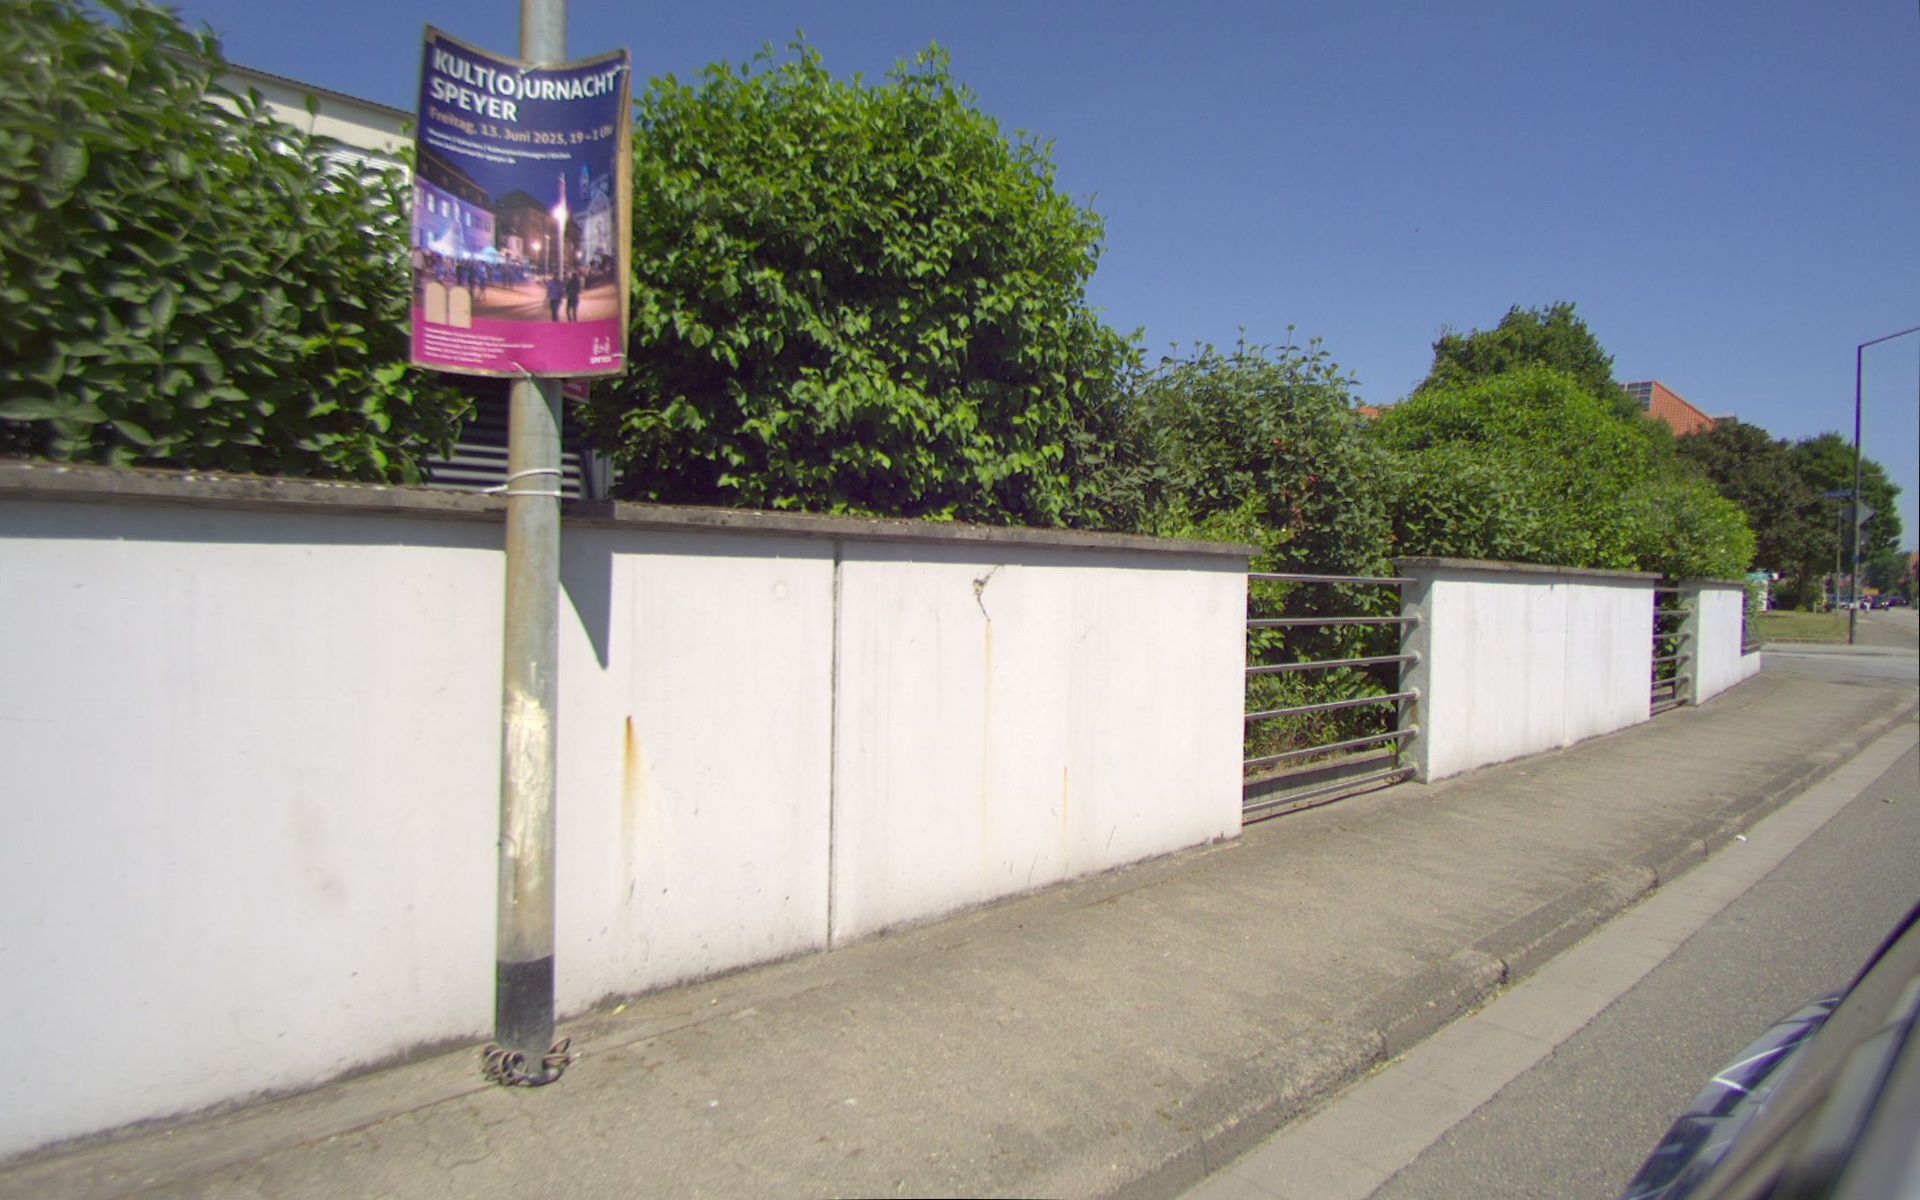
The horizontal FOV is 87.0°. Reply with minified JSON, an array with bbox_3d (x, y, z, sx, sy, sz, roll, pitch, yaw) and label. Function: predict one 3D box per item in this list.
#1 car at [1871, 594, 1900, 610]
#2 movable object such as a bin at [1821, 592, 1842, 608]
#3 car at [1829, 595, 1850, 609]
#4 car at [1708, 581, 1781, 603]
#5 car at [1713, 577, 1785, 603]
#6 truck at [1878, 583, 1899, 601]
[{"bbox_3d":[92.068,0.158,100.695,1.703,1.476,3.517,2,1,37],"label":"car"},{"bbox_3d":[86.571,-0.001,100.551,1.493,1.499,1.403,2,1,39],"label":"movable object such as a bin"},{"bbox_3d":[92.466,0.230,106.397,1.601,1.429,3.853,0,0,40],"label":"car"},{"bbox_3d":[60.274,-0.601,77.843,4.348,1.453,1.973,4,3,38],"label":"car"},{"bbox_3d":[62.147,-0.781,79.817,4.348,1.808,1.973,4,3,38],"label":"car"},{"bbox_3d":[161.375,-1.395,175.880,2.213,2.974,5.276,2,1,39],"label":"truck"}]
